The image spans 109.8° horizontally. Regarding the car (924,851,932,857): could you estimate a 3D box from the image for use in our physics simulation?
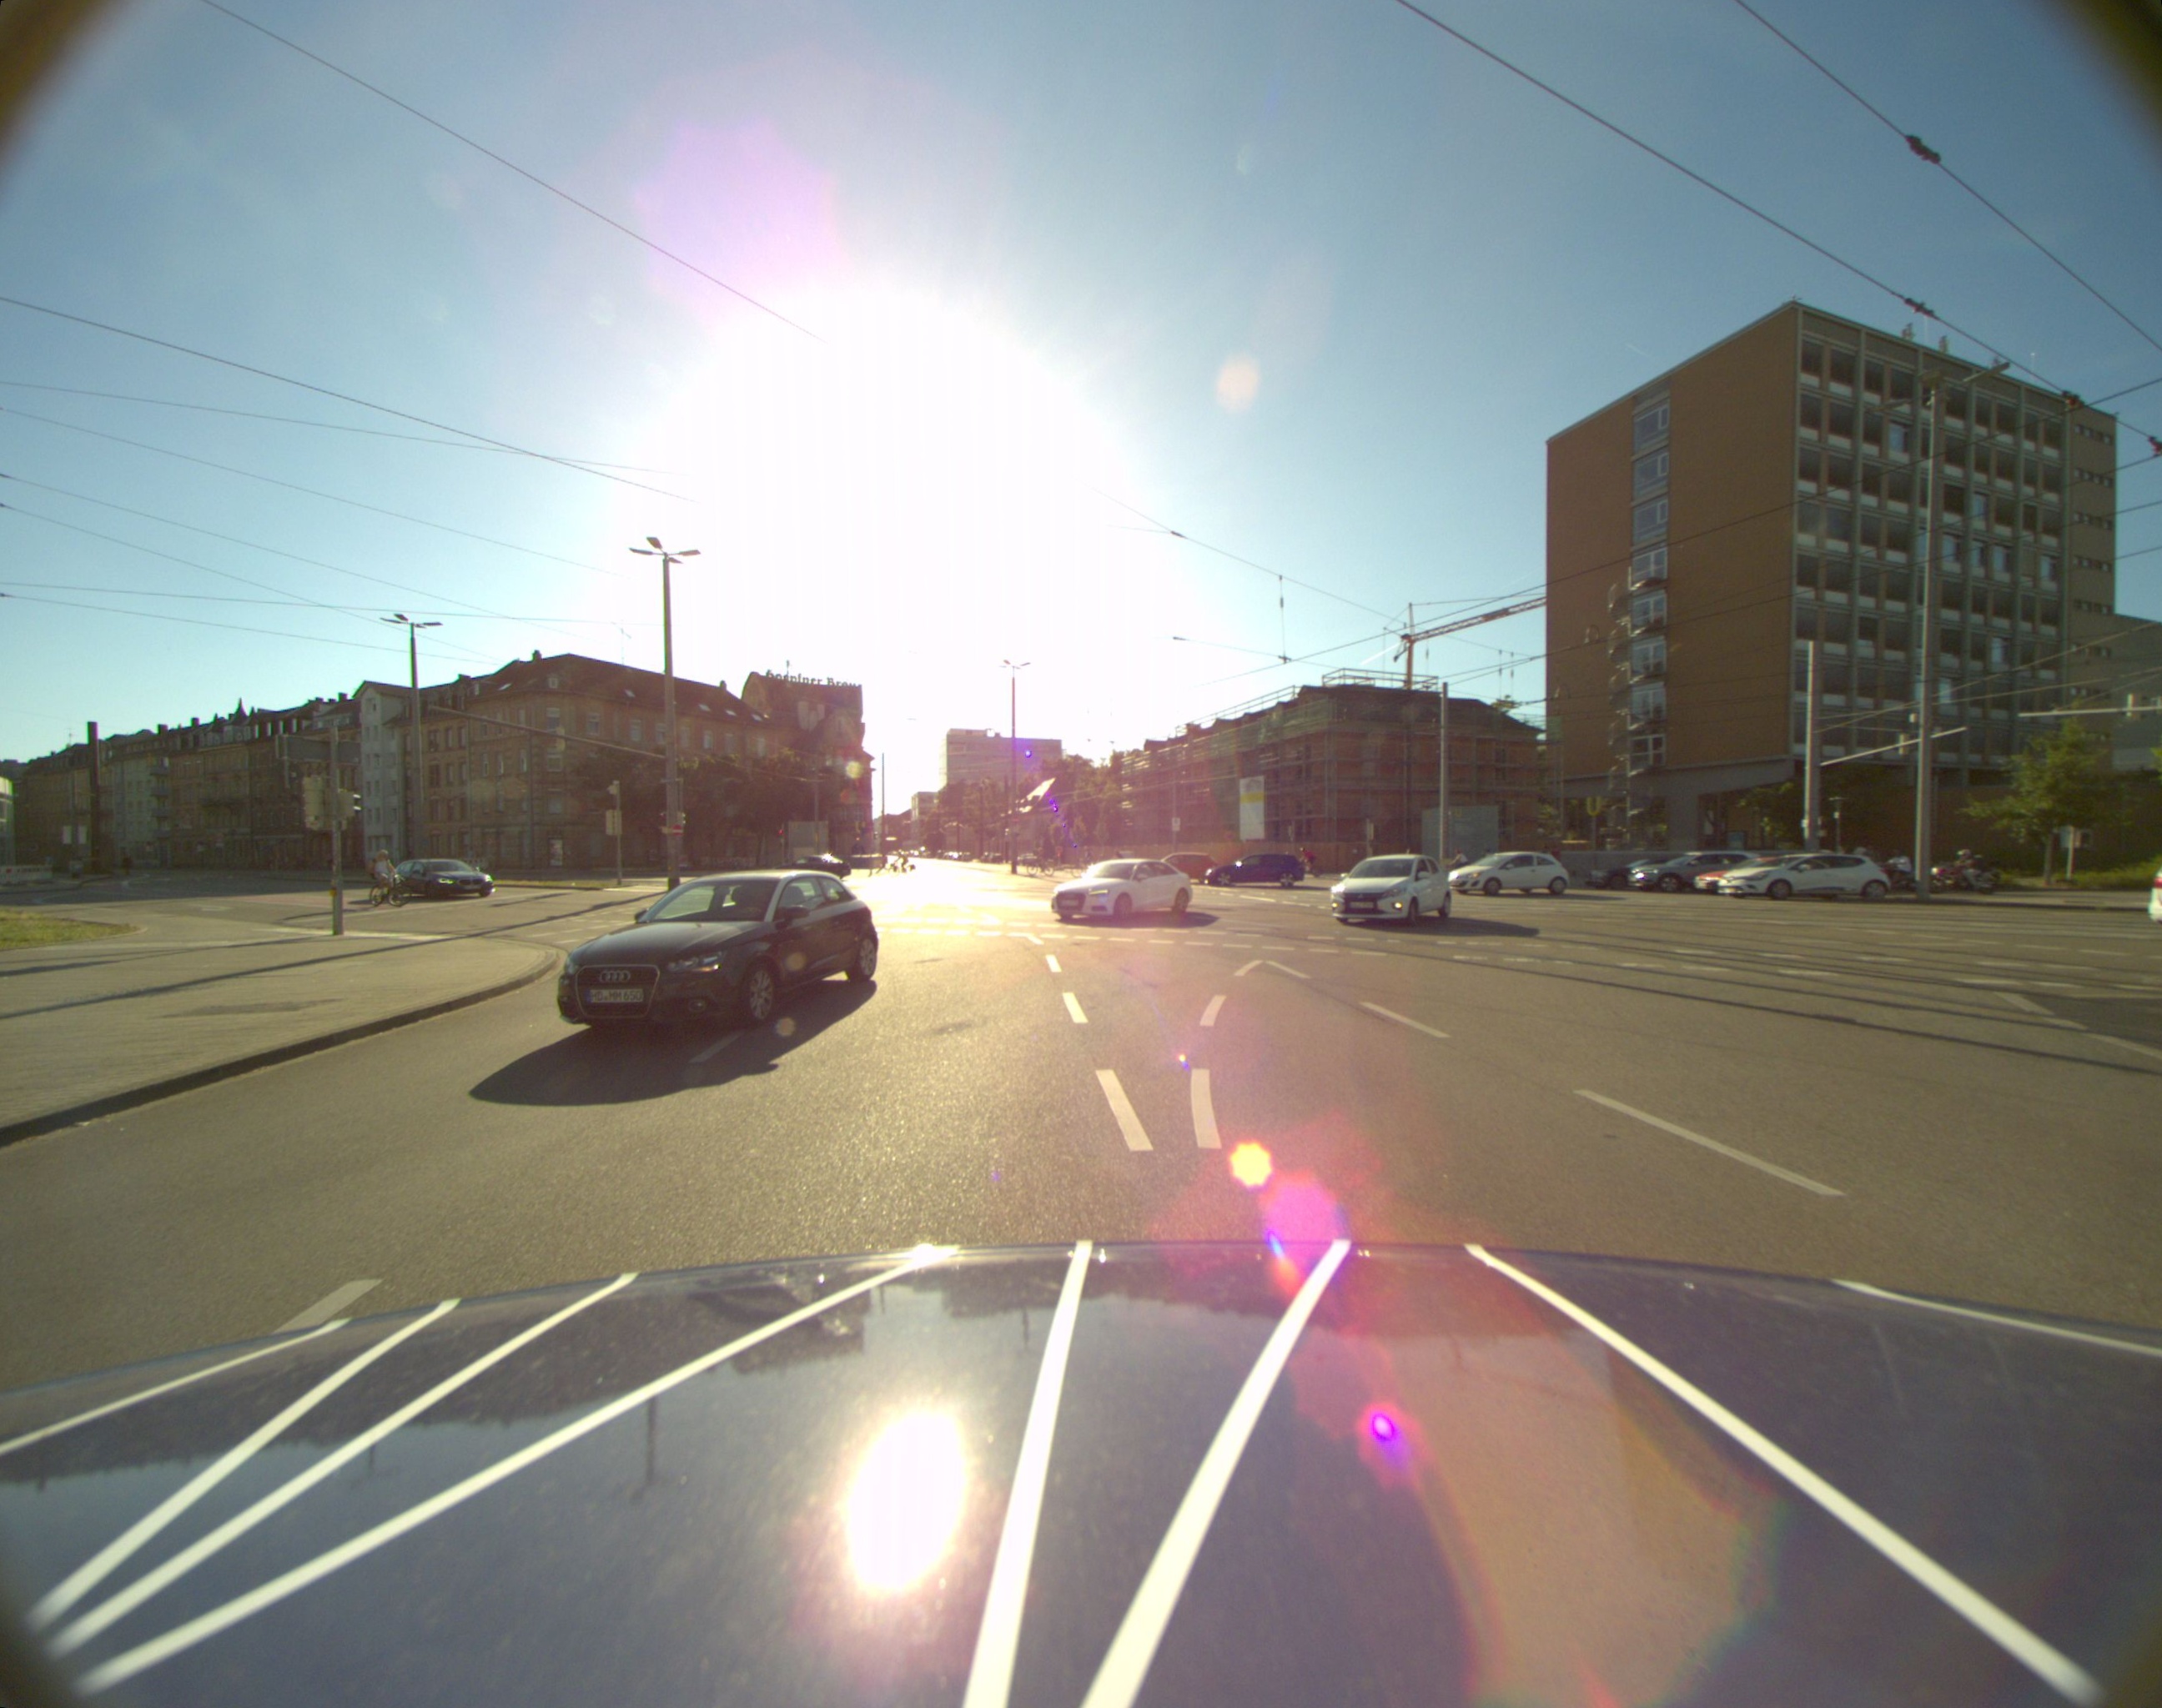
[{"bbox_3d":[-39.653,-0.076,196.877,1.758,1.455,4.013,-1,-1,-18],"label":"car"}]

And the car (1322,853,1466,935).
[{"bbox_3d":[7.149,0.801,17.196,1.716,1.484,3.878,2,3,43],"label":"car"}]

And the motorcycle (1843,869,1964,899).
[{"bbox_3d":[33.250,1.199,30.780,3.226,1.188,1.120,0,-2,15],"label":"motorcycle"}]

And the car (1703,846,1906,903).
[{"bbox_3d":[22.447,0.602,23.739,4.278,1.666,2.000,0,1,5],"label":"car"}]

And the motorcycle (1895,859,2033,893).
[{"bbox_3d":[32.498,0.813,28.032,3.226,1.188,1.120,0,-2,15],"label":"motorcycle"}]

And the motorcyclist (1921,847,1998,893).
[{"bbox_3d":[32.396,0.587,28.057,1.451,1.657,1.120,0,-2,15],"label":"motorcyclist"}]

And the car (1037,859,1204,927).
[{"bbox_3d":[1.101,0.869,18.793,1.821,1.380,4.467,1,1,40],"label":"car"}]

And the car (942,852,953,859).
[{"bbox_3d":[-28.346,0.266,161.548,1.758,1.455,4.013,-1,-1,-18],"label":"car"}]

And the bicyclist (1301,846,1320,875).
[{"bbox_3d":[14.071,0.412,46.631,1.014,1.699,0.694,1,5,21],"label":"bicyclist"}]

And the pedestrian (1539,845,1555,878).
[{"bbox_3d":[25.161,0.378,41.012,0.620,1.730,0.667,2,3,36],"label":"pedestrian"}]

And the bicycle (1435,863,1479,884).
[{"bbox_3d":[19.136,0.967,38.722,1.876,0.965,0.712,1,4,18],"label":"bicycle"}]

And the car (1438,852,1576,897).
[{"bbox_3d":[14.809,0.674,26.529,3.915,1.455,1.783,0,2,-9],"label":"car"}]

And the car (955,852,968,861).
[{"bbox_3d":[-22.706,0.462,144.410,1.758,1.455,4.013,-1,-1,-18],"label":"car"}]

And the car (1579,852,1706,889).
[{"bbox_3d":[24.065,0.691,32.695,4.012,1.455,1.758,-1,1,12],"label":"car"}]

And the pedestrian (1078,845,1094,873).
[{"bbox_3d":[0.369,0.346,51.970,0.817,1.837,0.693,-1,-2,40],"label":"pedestrian"}]

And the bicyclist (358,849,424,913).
[{"bbox_3d":[-22.489,0.850,24.778,1.142,2.003,1.035,0,3,14],"label":"bicyclist"}]

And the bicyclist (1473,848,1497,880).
[{"bbox_3d":[21.294,0.517,40.050,1.014,1.579,0.695,2,5,32],"label":"bicyclist"}]

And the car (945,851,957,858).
[{"bbox_3d":[-26.852,0.119,156.874,1.758,1.455,4.013,-1,-1,-18],"label":"car"}]

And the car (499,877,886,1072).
[{"bbox_3d":[-3.613,1.016,7.965,1.693,1.380,3.834,-1,1,8],"label":"car"}]

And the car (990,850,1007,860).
[{"bbox_3d":[-12.499,0.209,115.268,1.758,1.455,4.013,-1,-1,-18],"label":"car"}]

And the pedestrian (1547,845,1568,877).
[{"bbox_3d":[25.789,0.372,41.145,0.732,1.730,0.622,0,2,5],"label":"pedestrian"}]

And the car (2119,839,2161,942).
[{"bbox_3d":[20.321,0.624,12.134,4.459,1.724,1.942,0,1,5],"label":"car"}]

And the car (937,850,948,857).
[{"bbox_3d":[-31.098,-0.093,170.371,1.758,1.455,4.013,-1,-1,-18],"label":"car"}]

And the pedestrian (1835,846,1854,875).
[{"bbox_3d":[44.175,0.389,43.941,0.504,1.625,0.574,0,-1,2],"label":"pedestrian"}]

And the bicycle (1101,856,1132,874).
[{"bbox_3d":[2.207,0.669,46.951,1.771,1.116,0.649,0,-2,25],"label":"bicycle"}]

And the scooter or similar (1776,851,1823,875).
[{"bbox_3d":[38.818,0.486,41.078,0.801,1.239,1.704,1,-2,-33],"label":"scooter or similar"}]

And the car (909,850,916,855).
[{"bbox_3d":[-51.664,-0.477,232.487,1.758,1.455,4.013,-1,-1,-18],"label":"car"}]

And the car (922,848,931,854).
[{"bbox_3d":[-40.947,-0.695,201.078,1.758,1.455,4.013,-1,-1,-18],"label":"car"}]

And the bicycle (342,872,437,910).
[{"bbox_3d":[-22.557,1.183,24.799,2.526,1.117,1.035,0,3,14],"label":"bicycle"}]

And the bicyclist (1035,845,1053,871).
[{"bbox_3d":[-2.400,0.268,49.441,0.973,1.685,0.649,0,0,18],"label":"bicyclist"}]

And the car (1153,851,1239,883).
[{"bbox_3d":[5.684,0.627,37.400,4.012,1.455,1.758,-1,1,13],"label":"car"}]

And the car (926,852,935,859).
[{"bbox_3d":[-37.659,0.309,190.090,1.758,1.596,4.013,-1,-1,-18],"label":"car"}]

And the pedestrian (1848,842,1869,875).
[{"bbox_3d":[40.275,0.222,39.366,0.623,1.701,0.487,0,-2,29],"label":"pedestrian"}]

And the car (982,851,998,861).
[{"bbox_3d":[-14.518,0.372,120.791,1.758,1.455,4.013,-1,-1,-18],"label":"car"}]

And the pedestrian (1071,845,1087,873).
[{"bbox_3d":[-0.110,0.364,51.310,0.817,1.837,0.693,-1,-2,40],"label":"pedestrian"}]

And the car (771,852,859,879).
[{"bbox_3d":[-15.292,0.643,43.682,4.643,1.484,1.820,-1,0,21],"label":"car"}]

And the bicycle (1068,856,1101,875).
[{"bbox_3d":[0.198,0.693,45.767,1.900,1.116,0.649,0,-2,10],"label":"bicycle"}]

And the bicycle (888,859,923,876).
[{"bbox_3d":[-11.280,0.863,48.888,2.104,1.021,0.768,0,0,-1],"label":"bicycle"}]

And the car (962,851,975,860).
[{"bbox_3d":[-20.656,0.307,139.155,1.758,1.455,4.013,-1,-1,-18],"label":"car"}]

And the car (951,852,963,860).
[{"bbox_3d":[-24.345,0.399,149.252,1.758,1.455,4.013,-1,-1,-18],"label":"car"}]

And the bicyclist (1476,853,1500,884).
[{"bbox_3d":[21.968,0.776,41.004,1.014,1.579,0.695,3,5,37],"label":"bicyclist"}]

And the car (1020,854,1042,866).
[{"bbox_3d":[-6.441,0.789,97.247,1.758,1.455,4.013,-1,-1,-18],"label":"car"}]

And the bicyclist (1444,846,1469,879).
[{"bbox_3d":[19.113,0.425,38.686,1.015,1.579,0.694,1,5,18],"label":"bicyclist"}]

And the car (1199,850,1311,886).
[{"bbox_3d":[7.619,0.596,33.426,4.646,1.484,1.819,-1,1,12],"label":"car"}]

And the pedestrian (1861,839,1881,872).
[{"bbox_3d":[38.598,0.073,37.131,0.504,1.625,0.428,0,-1,2],"label":"pedestrian"}]

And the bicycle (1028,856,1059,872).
[{"bbox_3d":[-2.420,0.674,49.455,1.903,1.021,0.649,0,0,18],"label":"bicycle"}]

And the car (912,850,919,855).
[{"bbox_3d":[-48.420,-0.370,222.273,1.758,1.455,4.013,-1,-1,-18],"label":"car"}]

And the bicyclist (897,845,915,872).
[{"bbox_3d":[-11.243,0.292,48.879,0.974,1.685,0.768,0,0,0],"label":"bicyclist"}]

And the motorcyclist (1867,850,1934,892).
[{"bbox_3d":[33.176,0.693,30.802,1.451,1.657,1.120,0,-2,15],"label":"motorcyclist"}]

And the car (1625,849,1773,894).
[{"bbox_3d":[23.892,0.663,29.553,3.993,1.597,2.001,-1,2,14],"label":"car"}]

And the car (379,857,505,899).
[{"bbox_3d":[-23.891,0.865,28.420,3.990,1.445,2.003,0,1,23],"label":"car"}]

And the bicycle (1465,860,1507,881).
[{"bbox_3d":[21.349,0.856,40.030,1.874,0.965,0.713,2,5,32],"label":"bicycle"}]

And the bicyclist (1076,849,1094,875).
[{"bbox_3d":[0.234,0.463,45.770,0.973,1.559,0.649,0,-1,10],"label":"bicyclist"}]

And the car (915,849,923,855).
[{"bbox_3d":[-46.171,-0.544,217.006,1.758,1.455,4.013,-1,-1,-18],"label":"car"}]

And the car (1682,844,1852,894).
[{"bbox_3d":[24.079,0.526,26.823,3.994,1.673,2.002,0,-2,9],"label":"car"}]

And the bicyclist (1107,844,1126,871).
[{"bbox_3d":[2.207,0.244,46.974,0.972,1.651,0.649,0,-2,25],"label":"bicyclist"}]

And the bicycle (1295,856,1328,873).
[{"bbox_3d":[14.139,0.642,46.614,1.875,0.965,0.713,1,5,21],"label":"bicycle"}]
